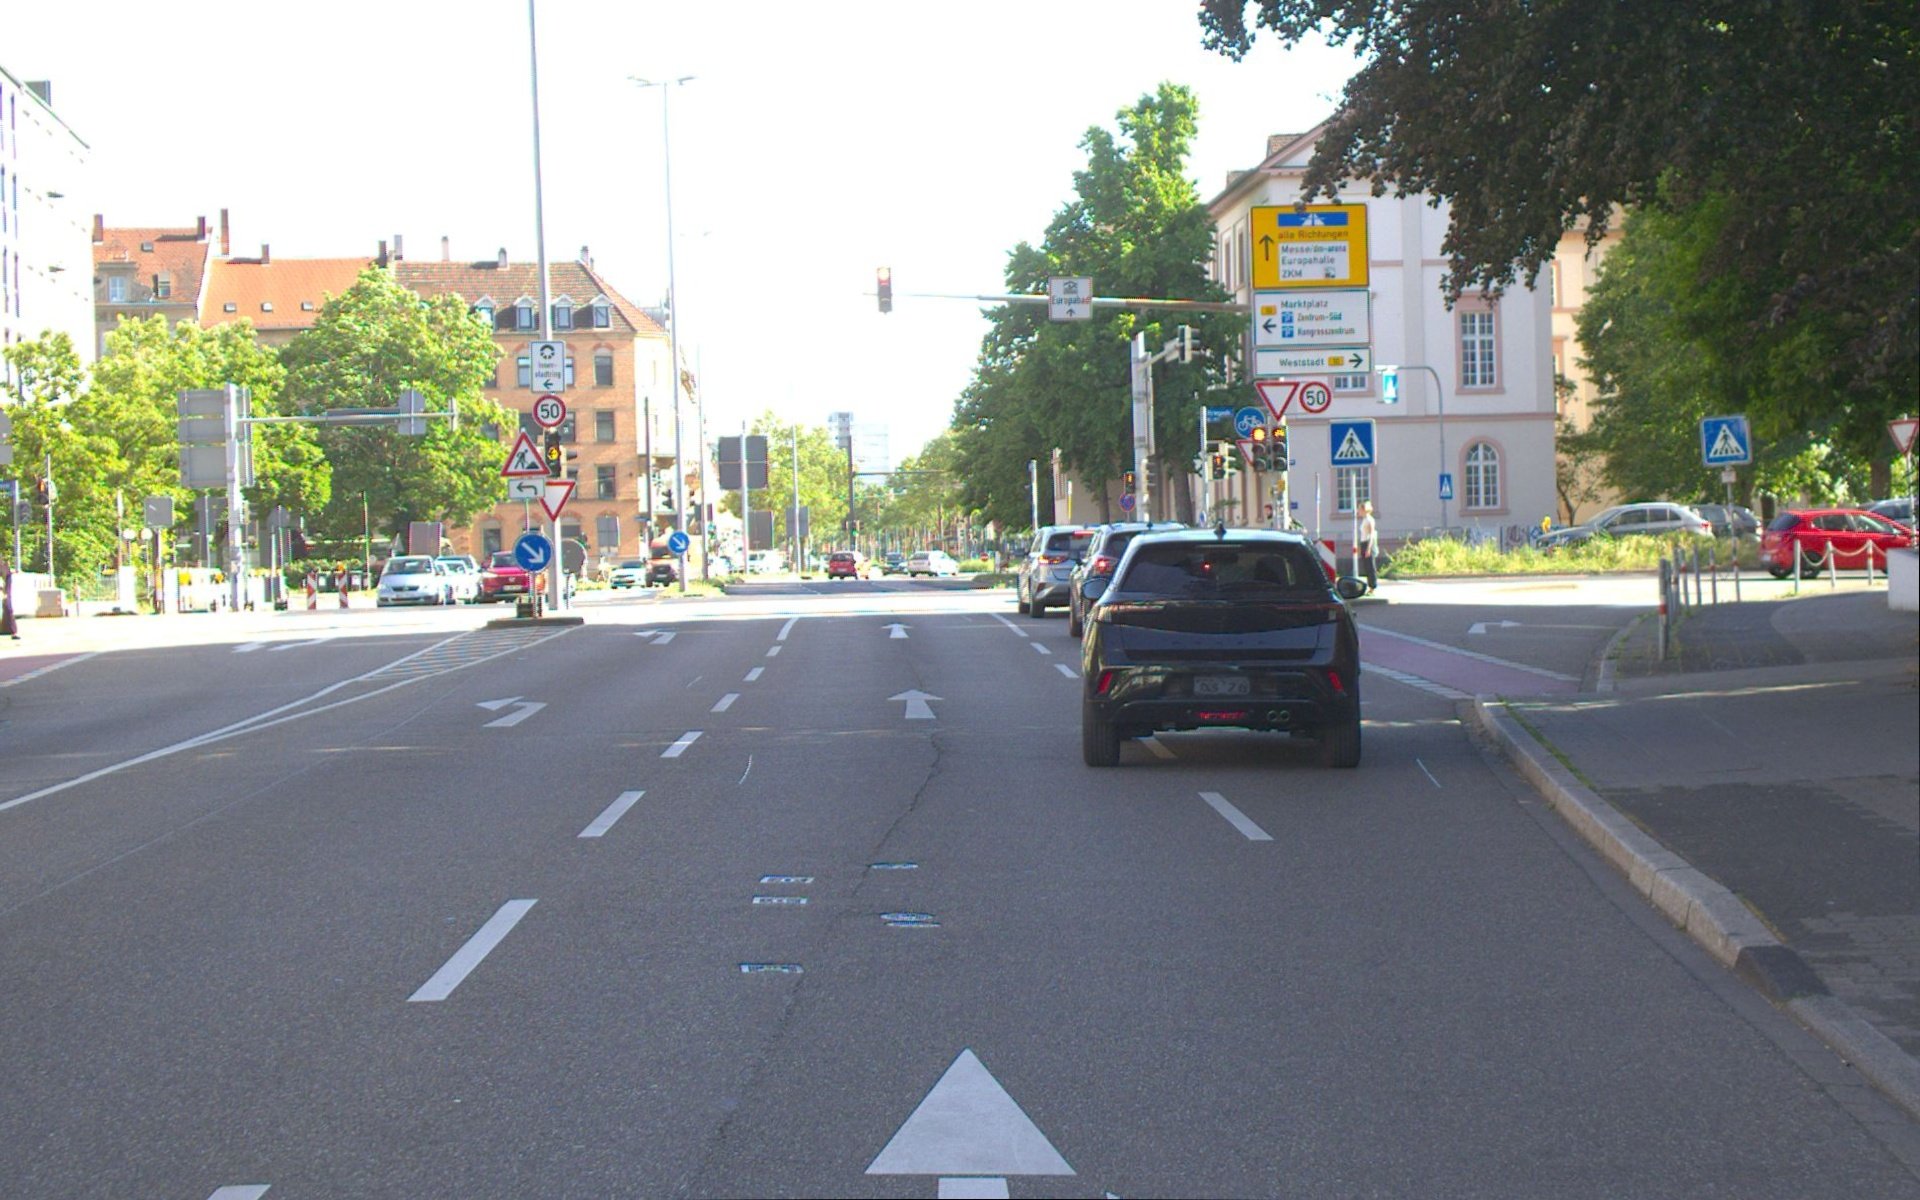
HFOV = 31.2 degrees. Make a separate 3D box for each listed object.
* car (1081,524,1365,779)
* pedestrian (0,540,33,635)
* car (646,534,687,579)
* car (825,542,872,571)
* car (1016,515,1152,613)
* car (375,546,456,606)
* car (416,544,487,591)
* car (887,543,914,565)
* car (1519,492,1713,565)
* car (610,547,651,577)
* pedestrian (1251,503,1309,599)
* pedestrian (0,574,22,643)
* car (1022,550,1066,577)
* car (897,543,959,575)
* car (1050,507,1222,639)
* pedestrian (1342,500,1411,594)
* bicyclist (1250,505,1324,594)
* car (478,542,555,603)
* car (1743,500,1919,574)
[{"bbox_3d":[1.776,0.282,22.984,1.745,1.568,3.557,0,1,5],"label":"car"},{"bbox_3d":[-16.830,-0.212,60.289,0.676,1.643,0.830,0,2,44],"label":"pedestrian"},{"bbox_3d":[-14.457,-2.160,169.531,1.810,2.127,4.001,-2,1,-3],"label":"car"},{"bbox_3d":[-5.909,-2.317,182.389,1.811,1.402,3.999,-2,1,8],"label":"car"},{"bbox_3d":[1.935,-0.609,54.871,1.830,1.447,3.988,-2,1,-2],"label":"car"},{"bbox_3d":[-15.894,-0.716,100.503,1.874,1.611,4.001,-2,1,-3],"label":"car"},{"bbox_3d":[-16.854,-1.083,114.053,1.874,1.443,4.001,-2,1,-3],"label":"car"},{"bbox_3d":[-4.295,-3.344,248.521,1.810,1.443,4.001,-2,1,-3],"label":"car"},{"bbox_3d":[15.534,-1.698,81.469,4.113,1.596,1.823,-2,1,-8],"label":"car"},{"bbox_3d":[-16.916,-1.953,176.648,1.874,1.443,4.001,-2,1,-3],"label":"car"},{"bbox_3d":[5.754,-0.881,61.930,0.825,1.696,0.918,-1,1,-8],"label":"pedestrian"},{"bbox_3d":[-16.631,0.147,59.283,0.661,1.162,0.676,-3,2,-35],"label":"pedestrian"},{"bbox_3d":[5.259,-2.288,214.193,1.862,1.654,3.997,1,1,15],"label":"car"},{"bbox_3d":[-1.802,-2.340,197.022,2.177,1.692,3.996,-1,2,21],"label":"car"},{"bbox_3d":[2.224,-0.385,44.312,1.830,1.573,3.840,-2,2,-2],"label":"car"},{"bbox_3d":[7.607,-0.972,62.815,1.040,1.654,0.784,-2,1,-6],"label":"pedestrian"},{"bbox_3d":[6.105,-0.952,64.245,1.165,1.628,0.729,-1,1,-18],"label":"bicyclist"},{"bbox_3d":[-12.742,-0.812,98.860,1.791,1.611,4.001,-2,1,-2],"label":"car"},{"bbox_3d":[18.724,-1.341,72.635,3.872,1.447,1.778,-2,1,-4],"label":"car"}]
